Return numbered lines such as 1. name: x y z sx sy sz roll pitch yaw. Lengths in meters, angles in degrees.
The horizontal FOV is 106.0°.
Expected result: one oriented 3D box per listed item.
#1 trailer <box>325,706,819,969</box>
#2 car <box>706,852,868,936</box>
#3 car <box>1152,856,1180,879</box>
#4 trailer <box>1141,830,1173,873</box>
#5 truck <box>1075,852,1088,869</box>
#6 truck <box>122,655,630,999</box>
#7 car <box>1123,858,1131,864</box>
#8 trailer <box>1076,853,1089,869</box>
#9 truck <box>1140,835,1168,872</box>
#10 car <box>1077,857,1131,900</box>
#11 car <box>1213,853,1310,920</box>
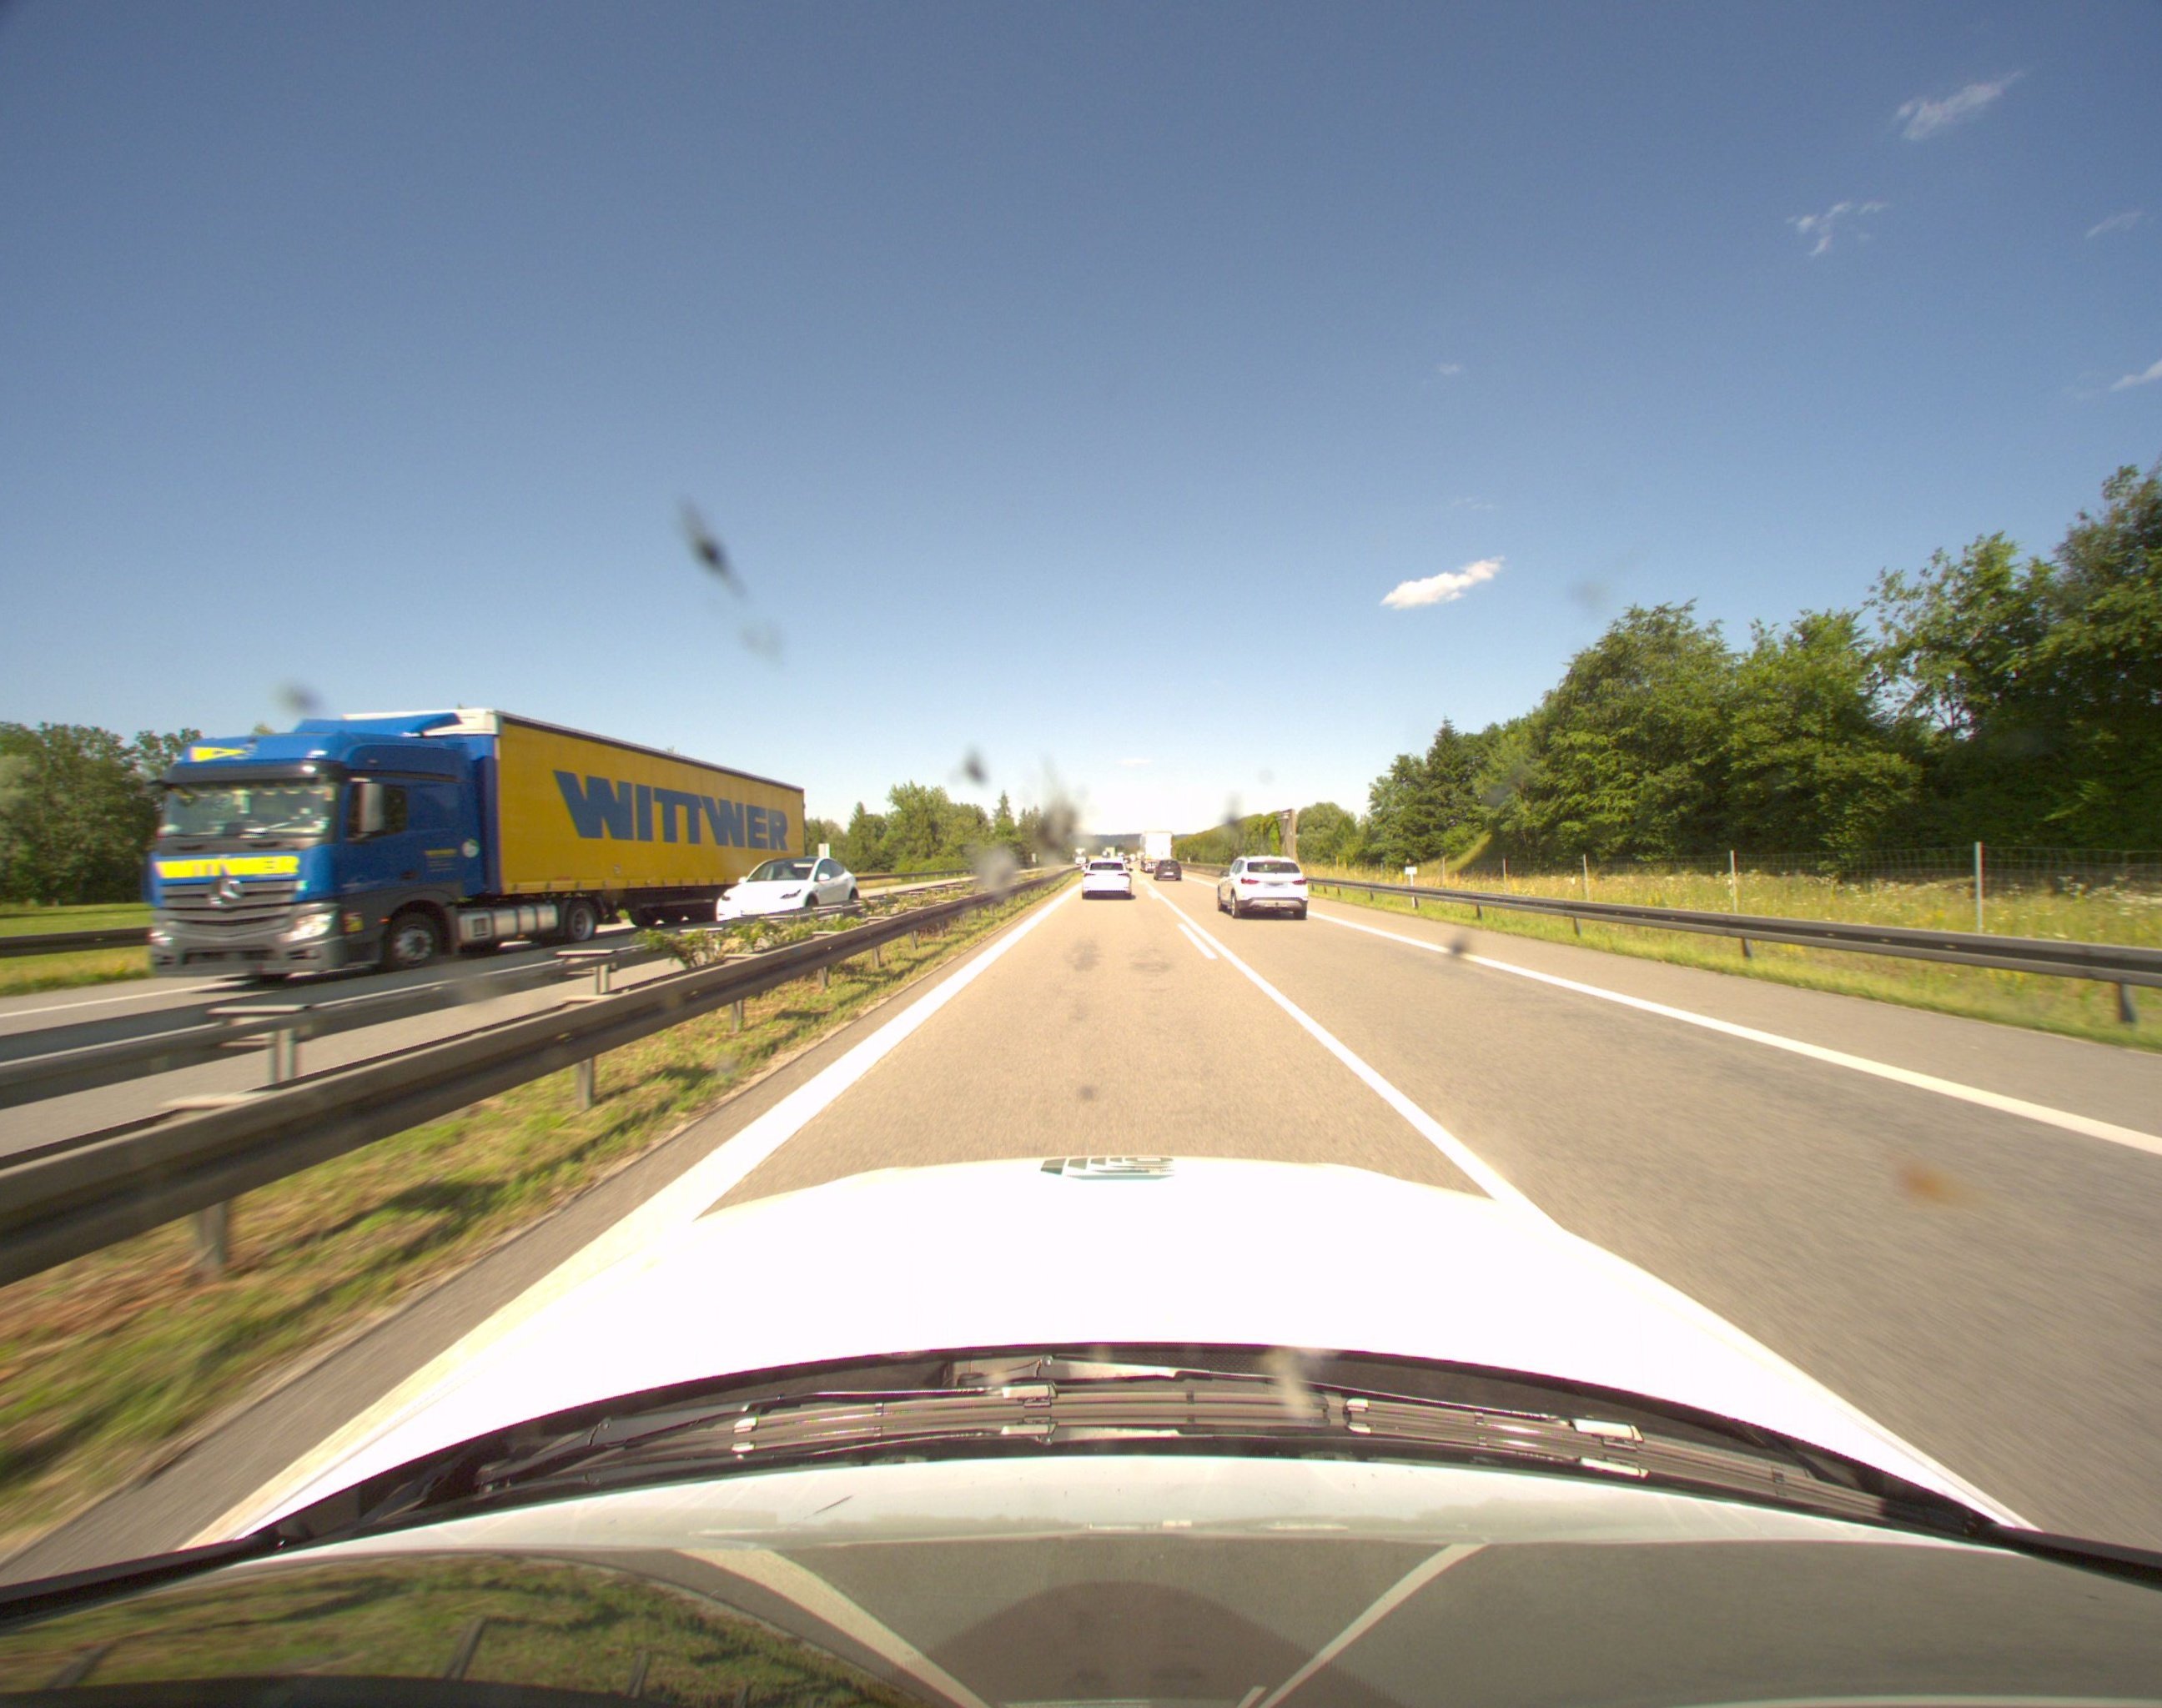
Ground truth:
1. trailer: -10.550 -0.235 20.353 2.777 4.160 14.400 -2 0 2
2. car: -6.772 0.857 19.387 1.986 1.665 4.635 -3 0 2
3. car: 5.666 0.884 54.708 1.658 1.454 4.548 0 0 3
4. trailer: 7.791 -0.210 84.987 2.806 3.966 14.174 -2 0 4
5. truck: 0.202 1.667 207.929 2.633 4.008 7.199 -2 0 3
6. truck: -10.786 -0.336 13.585 2.729 4.302 6.337 -2 0 2
7. car: 10.684 1.621 190.280 1.764 1.421 4.497 0 0 2
8. trailer: 0.433 1.848 211.346 2.650 4.008 14.097 -2 0 3
9. truck: 8.165 -0.041 91.724 2.828 3.966 7.049 -2 0 3
10. car: 0.937 0.847 30.379 1.832 1.421 5.258 0 0 3
11. car: 4.621 0.757 21.517 1.678 1.496 4.991 0 0 3
